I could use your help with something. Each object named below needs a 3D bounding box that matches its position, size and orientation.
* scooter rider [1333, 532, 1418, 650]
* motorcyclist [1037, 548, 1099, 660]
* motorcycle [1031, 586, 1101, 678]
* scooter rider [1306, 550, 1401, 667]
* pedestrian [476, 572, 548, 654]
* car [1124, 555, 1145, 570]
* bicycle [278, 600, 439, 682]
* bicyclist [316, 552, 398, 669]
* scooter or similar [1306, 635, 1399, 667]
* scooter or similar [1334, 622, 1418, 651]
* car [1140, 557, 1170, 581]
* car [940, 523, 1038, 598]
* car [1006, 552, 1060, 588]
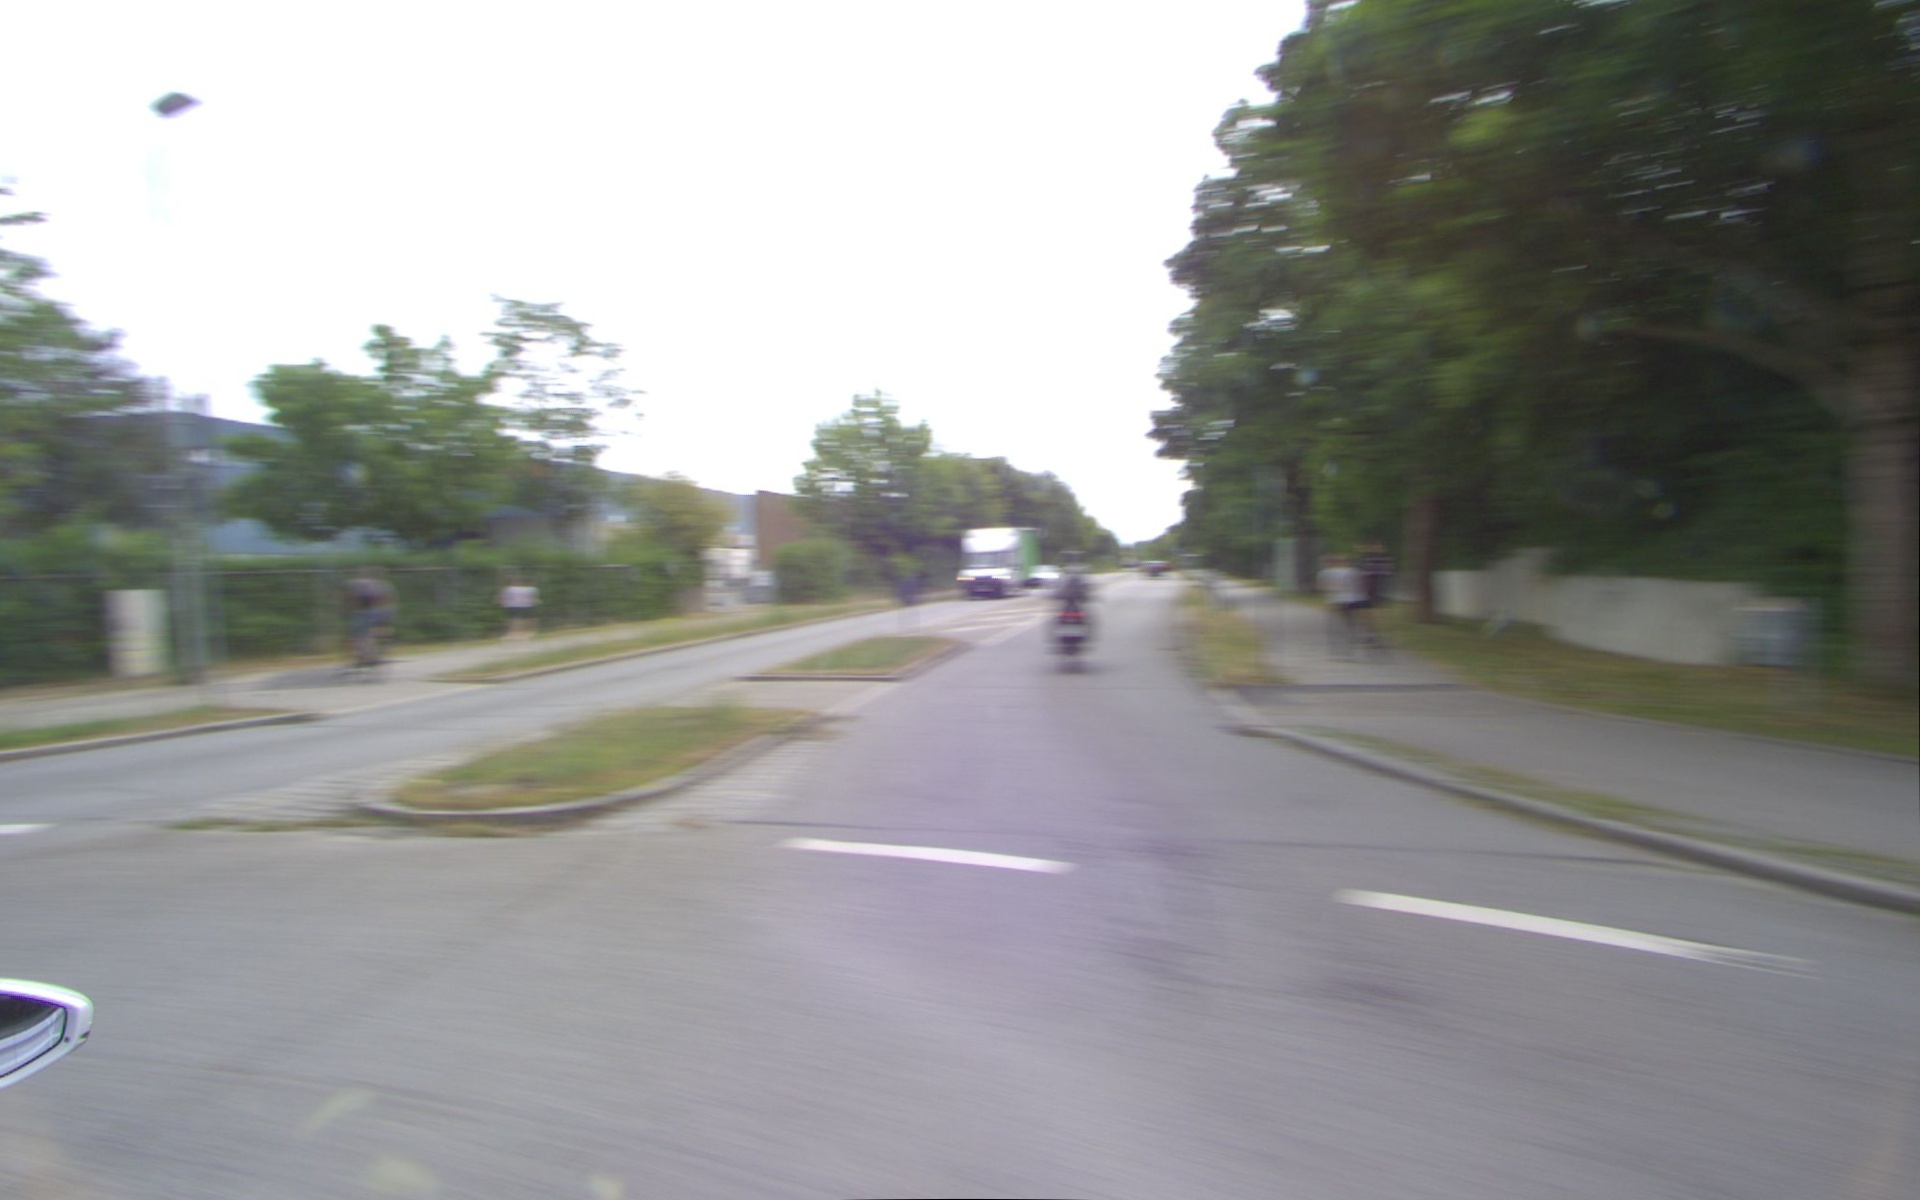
[{"bbox_3d":[7.117,-0.160,17.224,1.204,1.936,1.126,-1,3,16],"label":"scooter rider"},{"bbox_3d":[1.661,0.038,15.251,0.847,1.646,1.189,0,3,9],"label":"motorcyclist"},{"bbox_3d":[1.637,0.425,15.097,0.882,1.174,2.617,0,3,10],"label":"motorcycle"},{"bbox_3d":[5.924,0.100,15.155,1.079,1.695,1.243,0,3,9],"label":"scooter rider"},{"bbox_3d":[-8.901,0.231,19.923,0.773,1.566,1.042,0,3,17],"label":"pedestrian"},{"bbox_3d":[24.672,-5.300,141.534,2.475,1.974,5.701,-1,2,14],"label":"car"},{"bbox_3d":[-9.349,0.611,15.560,2.462,1.104,0.769,2,3,21],"label":"bicycle"},{"bbox_3d":[-9.314,0.142,15.488,0.903,1.747,0.657,2,3,20],"label":"bicyclist"},{"bbox_3d":[5.929,0.767,15.194,1.079,0.369,1.226,0,3,10],"label":"scooter or similar"},{"bbox_3d":[7.139,0.631,17.245,1.204,0.385,1.126,-2,2,16],"label":"scooter or similar"},{"bbox_3d":[16.924,-2.737,86.922,2.474,1.974,5.703,-1,2,12],"label":"car"},{"bbox_3d":[1.549,-1.893,47.818,3.122,3.249,7.619,-1,2,14],"label":"car"},{"bbox_3d":[4.819,-1.979,65.042,2.638,2.204,5.989,-1,2,13],"label":"car"}]
